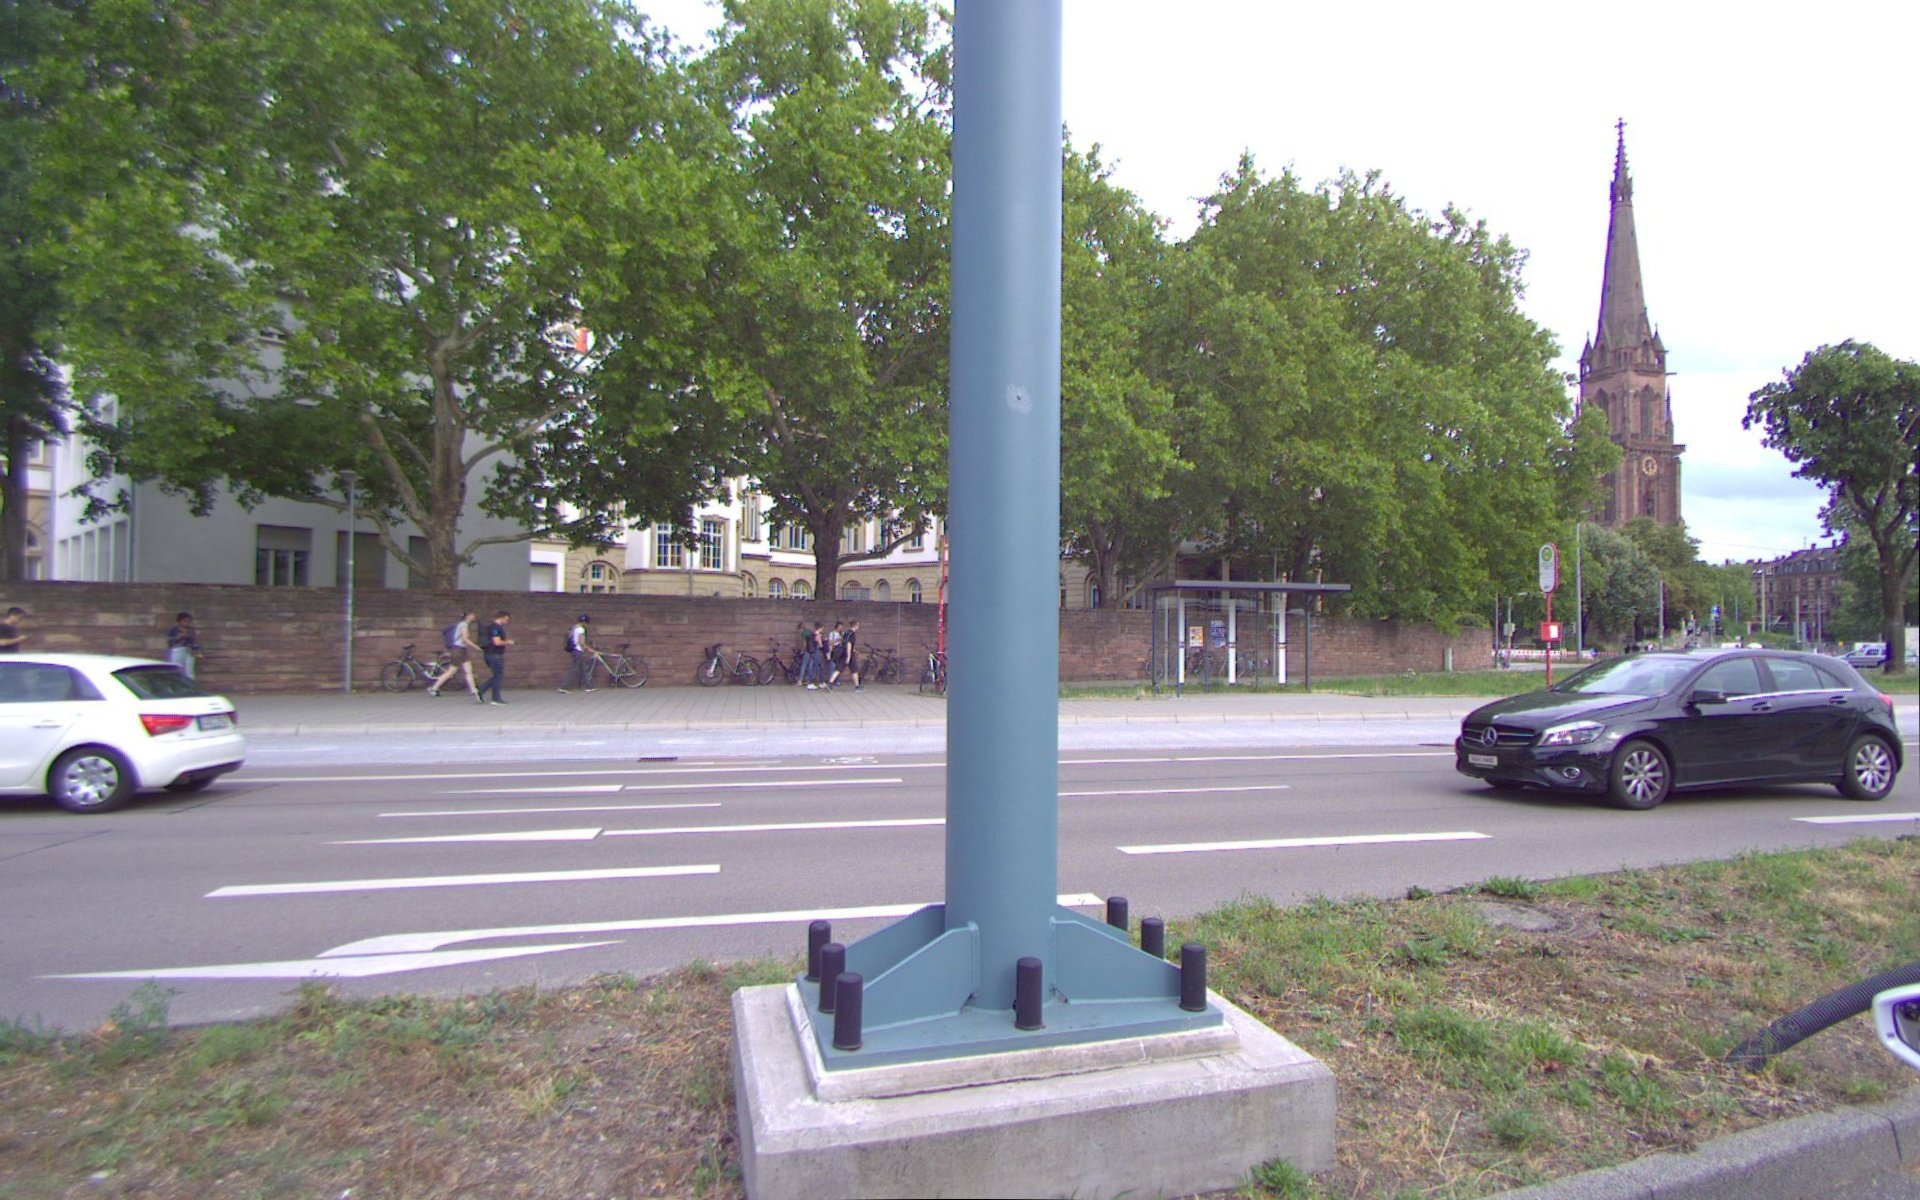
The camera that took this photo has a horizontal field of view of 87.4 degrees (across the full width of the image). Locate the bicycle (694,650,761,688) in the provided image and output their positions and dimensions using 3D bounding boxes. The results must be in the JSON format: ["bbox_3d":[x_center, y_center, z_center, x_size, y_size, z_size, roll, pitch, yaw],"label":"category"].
[{"bbox_3d":[-5.763,1.711,24.905,1.537,0.890,0.414,2,0,-30],"label":"bicycle"}]

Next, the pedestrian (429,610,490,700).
[{"bbox_3d":[-10.266,1.121,20.597,0.907,1.806,0.752,3,-2,-41],"label":"pedestrian"}]

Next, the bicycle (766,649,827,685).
[{"bbox_3d":[-4.206,1.712,25.863,1.504,0.890,0.345,2,0,-30],"label":"bicycle"}]

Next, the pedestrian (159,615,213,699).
[{"bbox_3d":[-15.130,1.113,19.649,0.728,1.613,0.582,3,-2,-35],"label":"pedestrian"}]

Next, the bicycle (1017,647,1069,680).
[{"bbox_3d":[2.505,1.897,30.203,1.605,0.919,0.477,2,0,-35],"label":"bicycle"}]

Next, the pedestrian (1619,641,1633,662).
[{"bbox_3d":[50.722,3.919,76.529,0.714,1.581,0.561,1,-2,-18],"label":"pedestrian"}]

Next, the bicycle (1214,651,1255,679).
[{"bbox_3d":[9.703,2.286,35.450,1.605,0.919,0.477,2,0,-37],"label":"bicycle"}]

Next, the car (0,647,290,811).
[{"bbox_3d":[-8.807,1.147,9.369,3.853,1.407,1.673,1,-3,-12],"label":"car"}]

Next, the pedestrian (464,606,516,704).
[{"bbox_3d":[-8.928,1.042,19.080,0.715,1.805,0.754,3,-3,-36],"label":"pedestrian"}]

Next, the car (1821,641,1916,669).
[{"bbox_3d":[56.885,3.411,62.994,1.620,1.671,4.152,1,-2,-17],"label":"car"}]

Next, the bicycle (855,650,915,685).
[{"bbox_3d":[-2.026,1.814,27.165,1.603,0.890,0.438,2,0,-34],"label":"bicycle"}]

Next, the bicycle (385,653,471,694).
[{"bbox_3d":[-11.517,1.583,21.770,1.601,0.838,0.439,2,0,-30],"label":"bicycle"}]

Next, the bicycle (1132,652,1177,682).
[{"bbox_3d":[6.393,2.186,32.923,1.605,0.919,0.477,2,0,-37],"label":"bicycle"}]

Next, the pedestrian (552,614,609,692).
[{"bbox_3d":[-8.420,1.175,22.292,0.917,1.693,0.752,3,-2,-41],"label":"pedestrian"}]

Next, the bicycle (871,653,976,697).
[{"bbox_3d":[-0.816,1.665,22.270,2.294,0.931,0.471,1,-1,-5],"label":"bicycle"}]

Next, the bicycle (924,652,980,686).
[{"bbox_3d":[-0.215,1.939,28.381,1.603,0.890,0.438,2,0,-34],"label":"bicycle"}]

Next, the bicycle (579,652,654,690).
[{"bbox_3d":[-8.090,1.658,23.662,1.601,0.838,0.439,2,0,-30],"label":"bicycle"}]

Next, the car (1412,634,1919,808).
[{"bbox_3d":[7.003,1.129,10.053,4.300,1.508,1.757,1,-3,-12],"label":"car"}]

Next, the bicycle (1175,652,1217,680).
[{"bbox_3d":[8.074,2.238,34.313,1.605,0.919,0.477,2,0,-37],"label":"bicycle"}]

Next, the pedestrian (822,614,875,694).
[{"bbox_3d":[-2.609,1.257,23.447,0.917,1.806,0.752,3,-2,-41],"label":"pedestrian"}]

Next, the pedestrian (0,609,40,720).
[{"bbox_3d":[-15.994,1.064,16.798,0.778,1.806,0.752,3,-2,-41],"label":"pedestrian"}]

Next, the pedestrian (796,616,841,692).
[{"bbox_3d":[-3.490,1.326,24.757,0.778,1.806,0.752,3,-2,-41],"label":"pedestrian"}]

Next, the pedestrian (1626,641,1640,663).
[{"bbox_3d":[50.574,3.901,75.479,0.714,1.581,0.561,1,-2,-18],"label":"pedestrian"}]
